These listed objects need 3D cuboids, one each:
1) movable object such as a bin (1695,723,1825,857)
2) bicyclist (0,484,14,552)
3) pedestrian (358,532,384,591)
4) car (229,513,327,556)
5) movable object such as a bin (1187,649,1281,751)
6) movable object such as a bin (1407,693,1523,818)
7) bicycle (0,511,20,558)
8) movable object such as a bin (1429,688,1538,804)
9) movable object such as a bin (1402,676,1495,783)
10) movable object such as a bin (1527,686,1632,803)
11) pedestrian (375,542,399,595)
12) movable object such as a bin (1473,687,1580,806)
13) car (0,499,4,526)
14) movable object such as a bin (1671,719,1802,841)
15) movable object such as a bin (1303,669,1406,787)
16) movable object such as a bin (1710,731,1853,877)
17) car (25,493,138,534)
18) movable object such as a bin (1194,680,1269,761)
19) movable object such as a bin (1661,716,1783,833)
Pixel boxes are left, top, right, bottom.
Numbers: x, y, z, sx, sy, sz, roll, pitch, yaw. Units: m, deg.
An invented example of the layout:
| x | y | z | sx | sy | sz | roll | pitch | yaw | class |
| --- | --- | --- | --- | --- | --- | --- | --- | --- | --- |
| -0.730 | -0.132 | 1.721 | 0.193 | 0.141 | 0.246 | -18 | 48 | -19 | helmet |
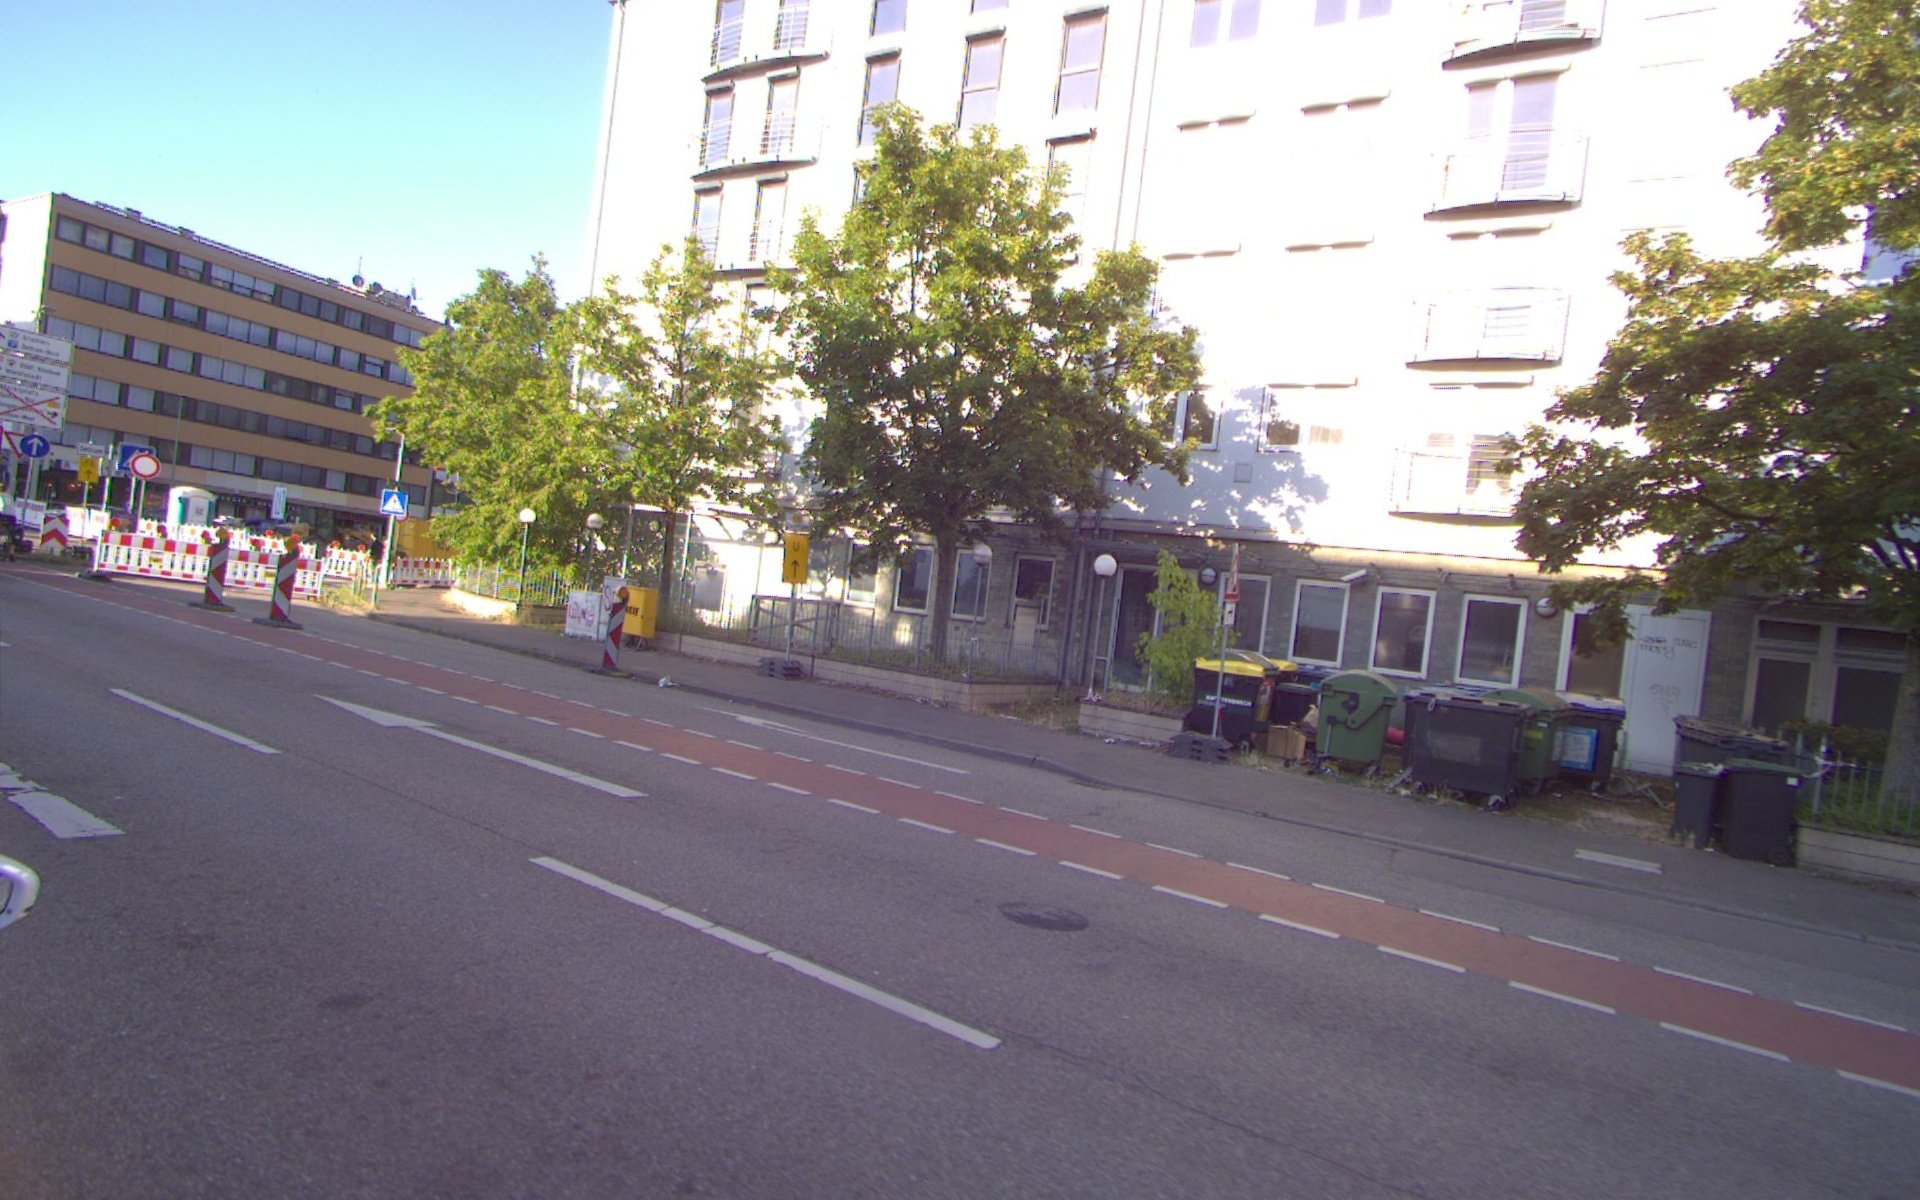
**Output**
| x | y | z | sx | sy | sz | roll | pitch | yaw | class |
| --- | --- | --- | --- | --- | --- | --- | --- | --- | --- |
| 9.490 | 2.222 | 11.984 | 0.938 | 1.344 | 0.955 | 7 | 0 | 30 | movable object such as a bin |
| -22.449 | -1.930 | 23.400 | 0.474 | 1.544 | 0.441 | 7 | 1 | 32 | bicyclist |
| -19.332 | -1.251 | 33.023 | 0.481 | 1.857 | 0.568 | 7 | 0 | -24 | pedestrian |
| -39.829 | -3.793 | 58.852 | 1.967 | 1.839 | 4.220 | 7 | -1 | 33 | car |
| 4.537 | 1.629 | 16.616 | 1.087 | 1.479 | 1.350 | 7 | 0 | 28 | movable object such as a bin |
| 6.451 | 1.943 | 12.835 | 1.142 | 1.344 | 0.955 | 7 | 0 | 30 | movable object such as a bin |
| -22.433 | -1.568 | 23.381 | 1.825 | 1.020 | 0.337 | 7 | 0 | 33 | bicycle |
| 7.117 | 1.950 | 13.690 | 1.142 | 1.344 | 0.955 | 7 | 0 | 30 | movable object such as a bin |
| 7.920 | 2.060 | 16.304 | 1.142 | 1.517 | 1.033 | 7 | 0 | 30 | movable object such as a bin |
| 9.249 | 2.124 | 15.076 | 1.142 | 1.517 | 1.033 | 7 | 0 | 30 | movable object such as a bin |
| -19.234 | -1.052 | 33.781 | 0.448 | 1.691 | 0.601 | 7 | 0 | -20 | pedestrian |
| 8.069 | 2.046 | 14.366 | 1.142 | 1.466 | 1.033 | 7 | 0 | 30 | movable object such as a bin |
| -19.302 | -1.360 | 18.435 | 3.684 | 1.466 | 1.637 | 7 | -2 | 33 | car |
| 9.953 | 2.280 | 12.953 | 1.079 | 1.299 | 0.955 | 7 | 0 | 30 | movable object such as a bin |
| 5.643 | 1.785 | 14.350 | 1.087 | 1.441 | 1.350 | 7 | 0 | 28 | movable object such as a bin |
| 9.029 | 2.205 | 11.116 | 0.938 | 1.344 | 0.955 | 7 | 0 | 30 | movable object such as a bin |
| -45.782 | -4.485 | 52.530 | 1.756 | 1.437 | 3.997 | 7 | -1 | 26 | car |
| 4.049 | 1.771 | 14.996 | 0.805 | 1.058 | 0.852 | 7 | 0 | 28 | movable object such as a bin |
| 10.432 | 2.361 | 13.824 | 1.079 | 1.344 | 0.955 | 7 | 0 | 30 | movable object such as a bin |
